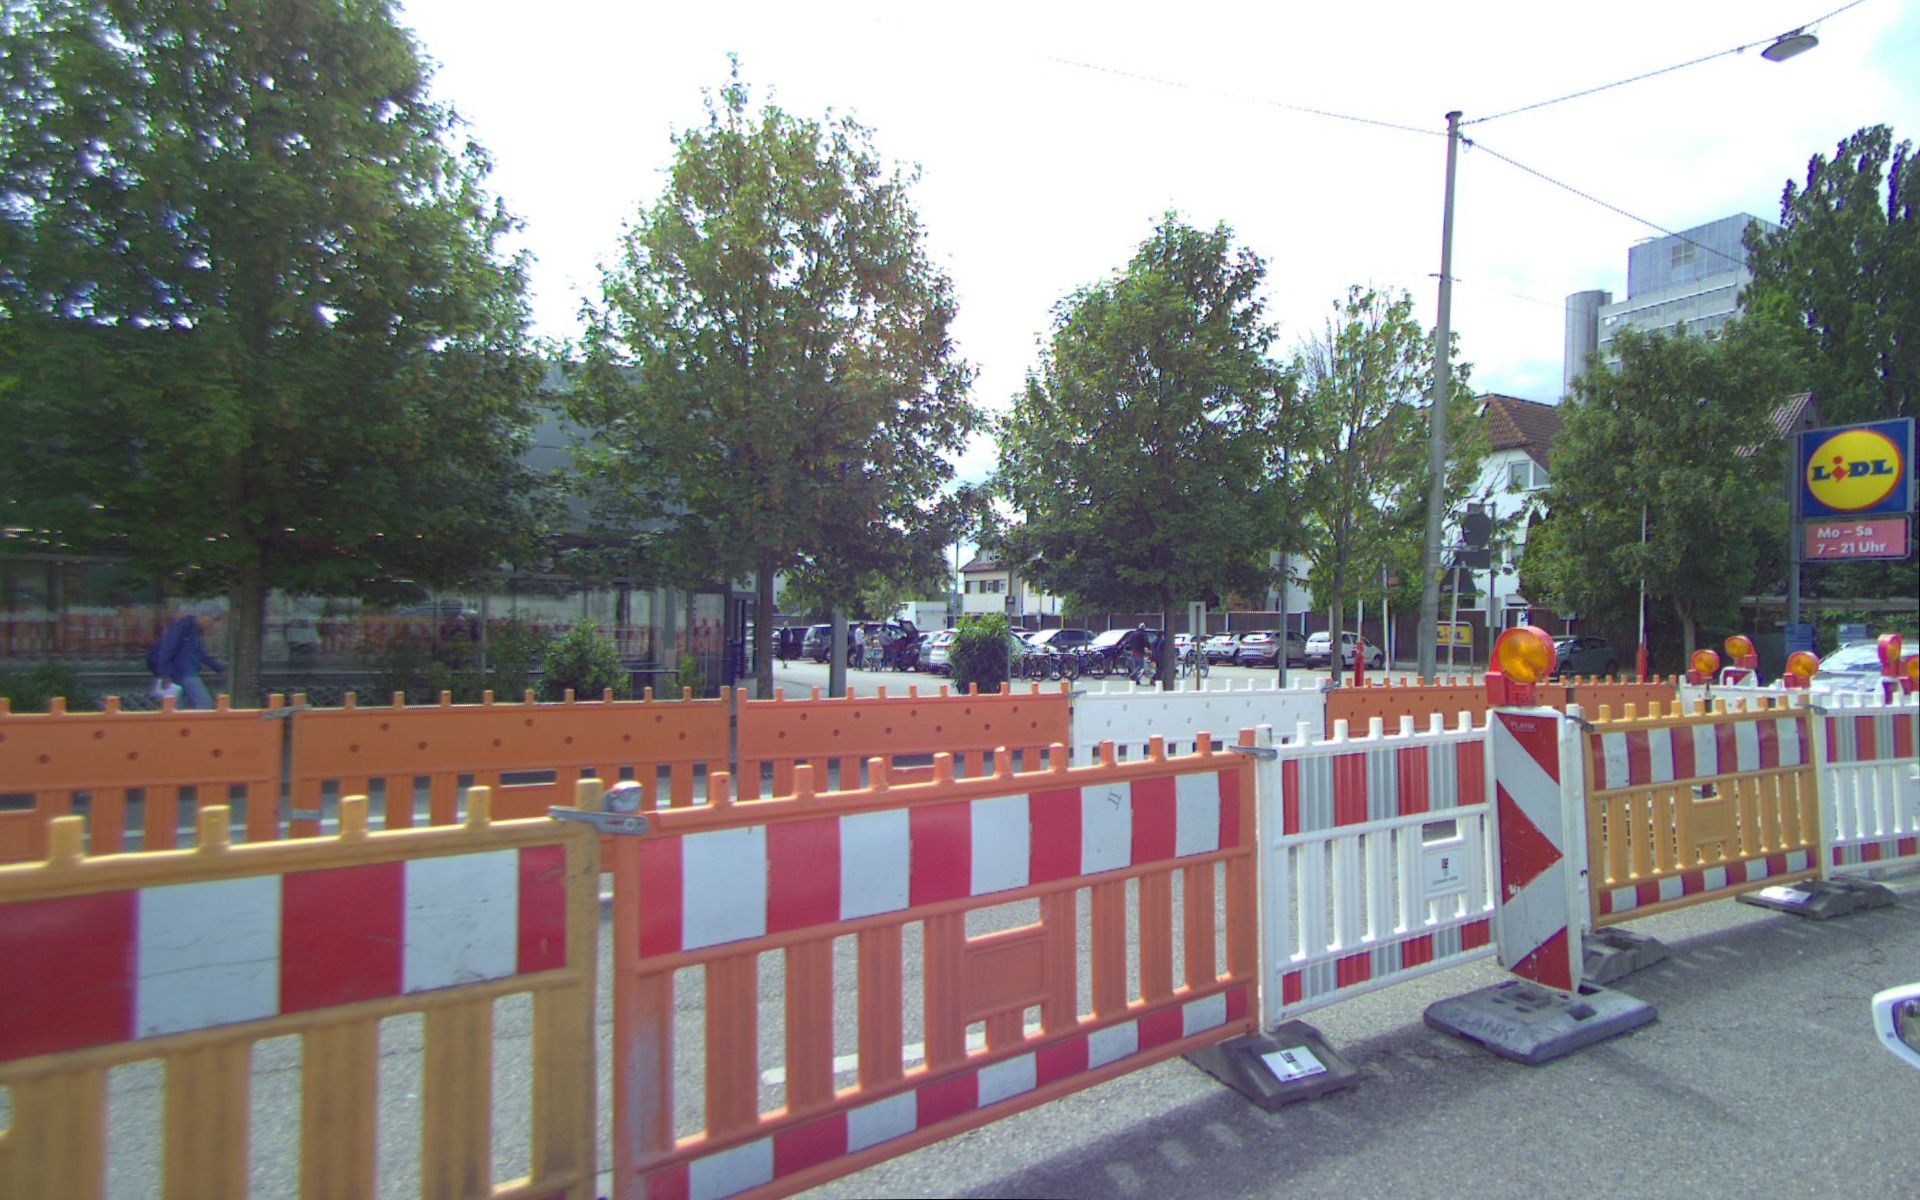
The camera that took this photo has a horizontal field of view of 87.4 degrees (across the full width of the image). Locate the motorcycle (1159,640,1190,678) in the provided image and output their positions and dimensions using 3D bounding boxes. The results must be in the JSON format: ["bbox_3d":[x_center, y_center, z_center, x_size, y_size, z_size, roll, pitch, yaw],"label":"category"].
[{"bbox_3d":[7.219,1.968,33.722,0.844,1.208,1.956,0,-2,18],"label":"motorcycle"}]

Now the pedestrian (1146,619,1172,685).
[{"bbox_3d":[5.751,1.490,29.074,0.604,1.884,0.419,1,-2,-30],"label":"pedestrian"}]

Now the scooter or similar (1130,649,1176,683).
[{"bbox_3d":[5.724,1.948,29.758,1.215,0.956,0.651,2,-2,-30],"label":"scooter or similar"}]

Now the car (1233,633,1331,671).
[{"bbox_3d":[14.026,2.253,43.775,3.954,1.572,1.984,2,-2,-31],"label":"car"}]

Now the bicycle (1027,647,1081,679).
[{"bbox_3d":[3.016,2.022,32.365,1.857,0.969,0.347,-1,-2,42],"label":"bicycle"}]

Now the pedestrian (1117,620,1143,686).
[{"bbox_3d":[4.950,1.544,29.267,0.604,1.884,0.419,1,-2,-30],"label":"pedestrian"}]

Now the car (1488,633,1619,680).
[{"bbox_3d":[19.860,1.867,33.604,3.949,1.472,1.987,2,-2,-27],"label":"car"}]

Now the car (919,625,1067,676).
[{"bbox_3d":[1.141,1.702,33.892,4.615,1.593,1.986,2,-2,-28],"label":"car"}]

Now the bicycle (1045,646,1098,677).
[{"bbox_3d":[3.634,2.004,32.867,1.857,0.969,0.347,-1,-2,42],"label":"bicycle"}]

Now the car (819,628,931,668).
[{"bbox_3d":[-3.582,2.007,42.332,4.260,1.593,1.986,2,-2,-28],"label":"car"}]

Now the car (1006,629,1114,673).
[{"bbox_3d":[4.093,2.055,40.922,3.949,1.718,1.987,2,-2,-27],"label":"car"}]

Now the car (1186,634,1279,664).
[{"bbox_3d":[12.565,2.267,46.283,3.954,1.305,1.984,2,-2,-31],"label":"car"}]

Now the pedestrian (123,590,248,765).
[{"bbox_3d":[-7.587,0.741,9.888,0.820,1.624,0.749,2,-2,-29],"label":"pedestrian"}]

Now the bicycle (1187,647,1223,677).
[{"bbox_3d":[8.366,2.117,34.357,0.309,0.969,1.649,1,-2,-20],"label":"bicycle"}]

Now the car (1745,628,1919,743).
[{"bbox_3d":[13.951,1.212,15.004,3.943,1.533,1.850,2,-2,-23],"label":"car"}]

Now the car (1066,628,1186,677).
[{"bbox_3d":[6.104,1.925,36.947,3.949,1.718,1.987,2,-2,-27],"label":"car"}]

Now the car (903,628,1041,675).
[{"bbox_3d":[0.442,1.864,36.286,4.615,1.593,1.986,2,-2,-28],"label":"car"}]

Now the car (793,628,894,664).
[{"bbox_3d":[-5.458,2.141,47.034,4.260,1.593,1.986,2,-2,-28],"label":"car"}]

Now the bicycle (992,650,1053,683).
[{"bbox_3d":[1.938,2.049,31.066,1.848,0.969,0.349,0,-2,20],"label":"bicycle"}]

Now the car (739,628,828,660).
[{"bbox_3d":[-9.388,2.337,53.525,4.260,1.593,1.986,2,-2,-28],"label":"car"}]

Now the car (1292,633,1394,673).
[{"bbox_3d":[16.021,2.204,41.949,3.954,1.572,1.984,2,-2,-31],"label":"car"}]

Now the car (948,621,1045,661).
[{"bbox_3d":[1.656,1.866,45.461,3.949,1.718,1.987,2,-2,-27],"label":"car"}]

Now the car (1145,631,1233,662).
[{"bbox_3d":[11.159,2.272,48.882,3.954,1.416,1.984,2,-2,-31],"label":"car"}]

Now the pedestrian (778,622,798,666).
[{"bbox_3d":[-6.552,1.683,38.241,0.599,1.638,0.502,2,-2,-28],"label":"pedestrian"}]

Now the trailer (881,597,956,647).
[{"bbox_3d":[-3.168,1.706,74.854,3.314,3.532,6.135,2,-2,-27],"label":"trailer"}]

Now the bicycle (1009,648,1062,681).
[{"bbox_3d":[2.390,2.040,31.867,1.857,0.969,0.347,-1,-2,42],"label":"bicycle"}]

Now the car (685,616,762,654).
[{"bbox_3d":[-15.827,2.369,67.336,4.640,2.426,1.986,2,-2,-28],"label":"car"}]
